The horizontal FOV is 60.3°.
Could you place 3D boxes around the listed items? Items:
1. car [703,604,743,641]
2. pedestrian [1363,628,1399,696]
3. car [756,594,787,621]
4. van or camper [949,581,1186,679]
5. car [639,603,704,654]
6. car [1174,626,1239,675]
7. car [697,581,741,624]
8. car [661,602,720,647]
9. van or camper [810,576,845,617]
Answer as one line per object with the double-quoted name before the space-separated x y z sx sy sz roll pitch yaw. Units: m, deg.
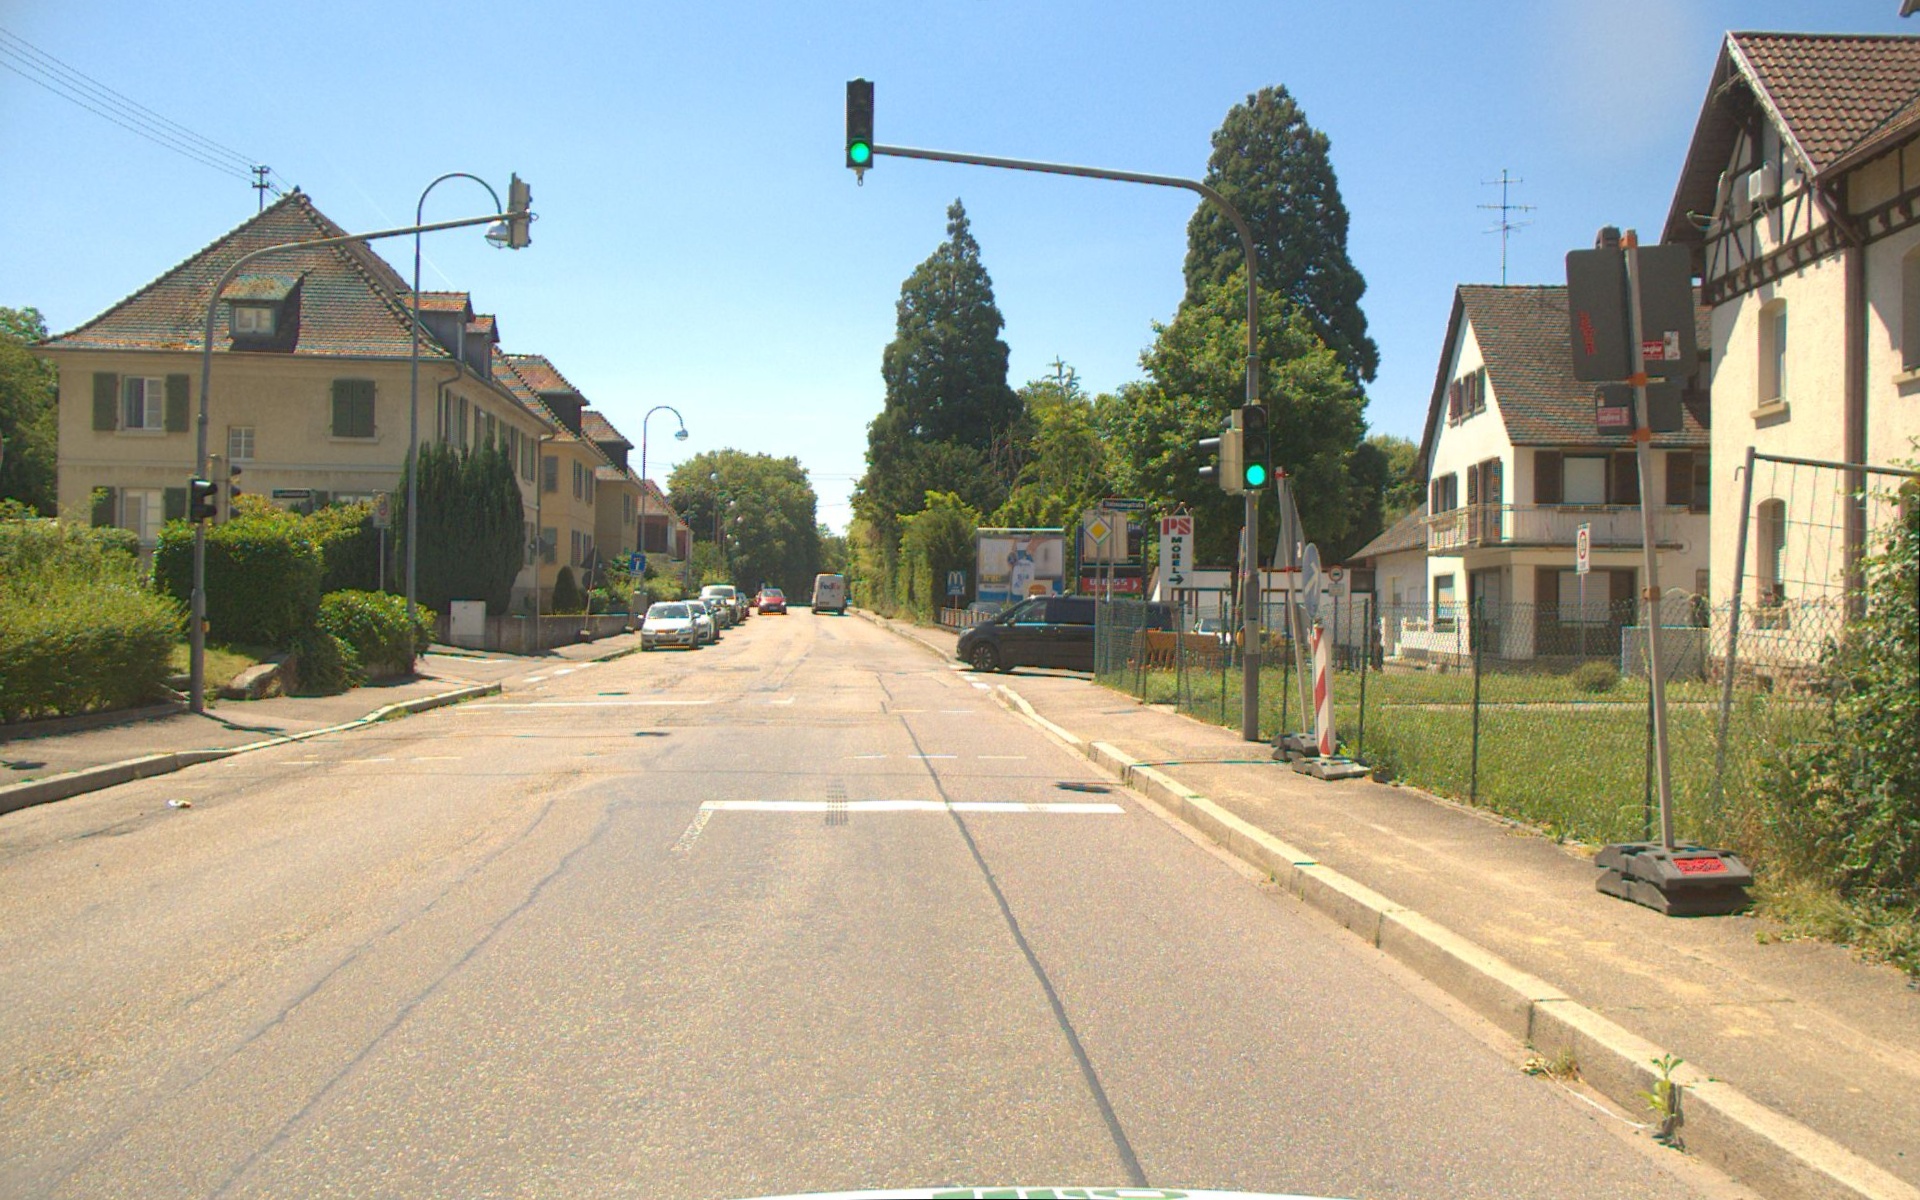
"car" -10.654 0.983 74.525 1.654 1.552 4.057 1 0 -6
"pedestrian" 10.182 1.495 39.987 0.682 1.628 0.572 0 0 -5
"car" -11.627 0.465 102.025 1.779 1.593 3.692 -1 0 -5
"van or camper" 2.495 0.671 38.206 5.141 2.049 1.910 2 0 15
"car" -8.844 0.847 50.979 1.725 1.473 3.918 -1 0 -7
"car" 7.133 1.434 48.115 1.675 1.292 3.387 1 0 6
"car" -11.819 0.091 81.378 1.842 1.997 4.620 -2 1 -6
"car" -9.119 0.790 56.130 1.760 1.426 4.213 -1 0 -7
"van or camper" -8.711 -0.204 108.334 2.218 2.572 4.754 -1 0 -5
